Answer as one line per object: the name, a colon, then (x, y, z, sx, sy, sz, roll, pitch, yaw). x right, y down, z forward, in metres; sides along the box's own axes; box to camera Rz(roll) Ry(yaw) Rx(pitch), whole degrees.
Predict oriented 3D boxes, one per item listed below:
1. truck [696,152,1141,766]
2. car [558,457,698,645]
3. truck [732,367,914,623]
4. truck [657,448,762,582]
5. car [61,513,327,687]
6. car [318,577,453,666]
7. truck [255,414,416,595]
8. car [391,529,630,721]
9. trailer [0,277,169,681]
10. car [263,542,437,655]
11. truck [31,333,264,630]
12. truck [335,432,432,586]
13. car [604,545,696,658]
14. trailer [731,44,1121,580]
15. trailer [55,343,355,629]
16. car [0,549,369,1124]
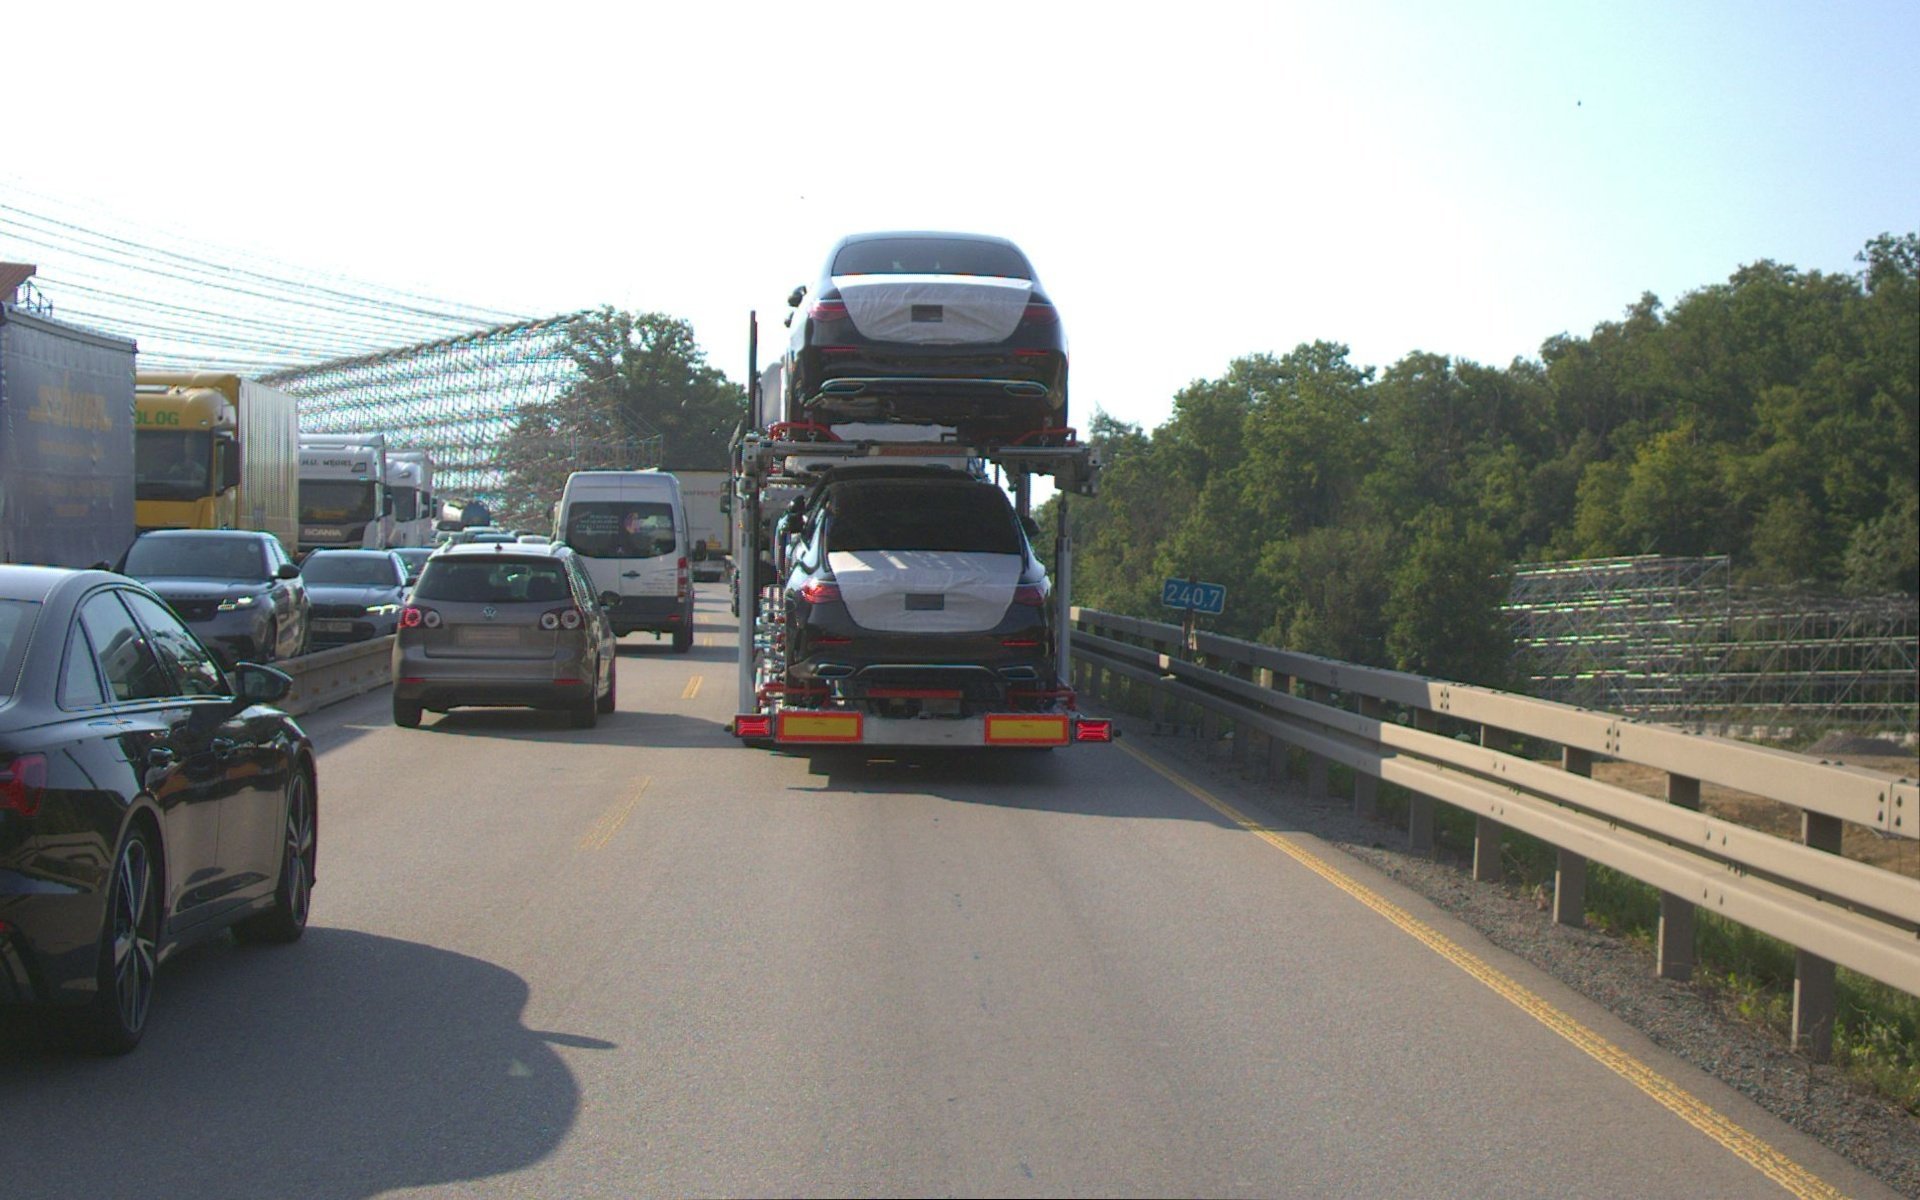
truck: (-0.303, -0.913, 25.173, 2.870, 3.966, 5.771, 0, 0, -1)
car: (-4.917, -0.702, 51.384, 1.979, 2.675, 4.147, 0, 0, -4)
truck: (-2.910, -2.079, 69.103, 3.227, 4.661, 11.697, 1, 1, -4)
truck: (-9.245, -3.146, 126.874, 3.648, 4.661, 11.697, 1, 1, -4)
car: (-7.931, -0.001, 36.019, 1.927, 1.696, 4.692, 0, 0, -3)
car: (-9.657, 0.347, 58.089, 1.797, 1.448, 4.616, 0, 0, -4)
truck: (-14.949, -2.129, 83.233, 2.808, 3.956, 13.896, 1, 0, -6)
car: (-3.927, 0.208, 30.592, 1.700, 1.581, 4.147, 0, 0, -2)
trailer: (-11.210, -1.240, 36.191, 2.714, 4.120, 16.754, 0, 0, -3)
car: (-8.437, -0.021, 47.899, 1.788, 1.492, 4.725, 0, 0, -3)
truck: (-11.933, -1.673, 50.822, 2.693, 4.182, 4.399, 0, 0, -4)
truck: (-16.611, -2.552, 99.332, 2.443, 4.257, 6.323, 0, 0, -7)
car: (-5.914, 0.019, 65.307, 1.528, 2.007, 4.001, 3, 0, -7)
trailer: (-0.760, -2.230, 33.827, 2.874, 3.980, 15.281, 0, 0, -4)
trailer: (-12.519, -1.681, 58.625, 2.701, 4.189, 15.999, 0, 0, -4)
car: (-3.373, 0.596, 11.422, 1.940, 1.475, 5.222, 0, 0, 0)
